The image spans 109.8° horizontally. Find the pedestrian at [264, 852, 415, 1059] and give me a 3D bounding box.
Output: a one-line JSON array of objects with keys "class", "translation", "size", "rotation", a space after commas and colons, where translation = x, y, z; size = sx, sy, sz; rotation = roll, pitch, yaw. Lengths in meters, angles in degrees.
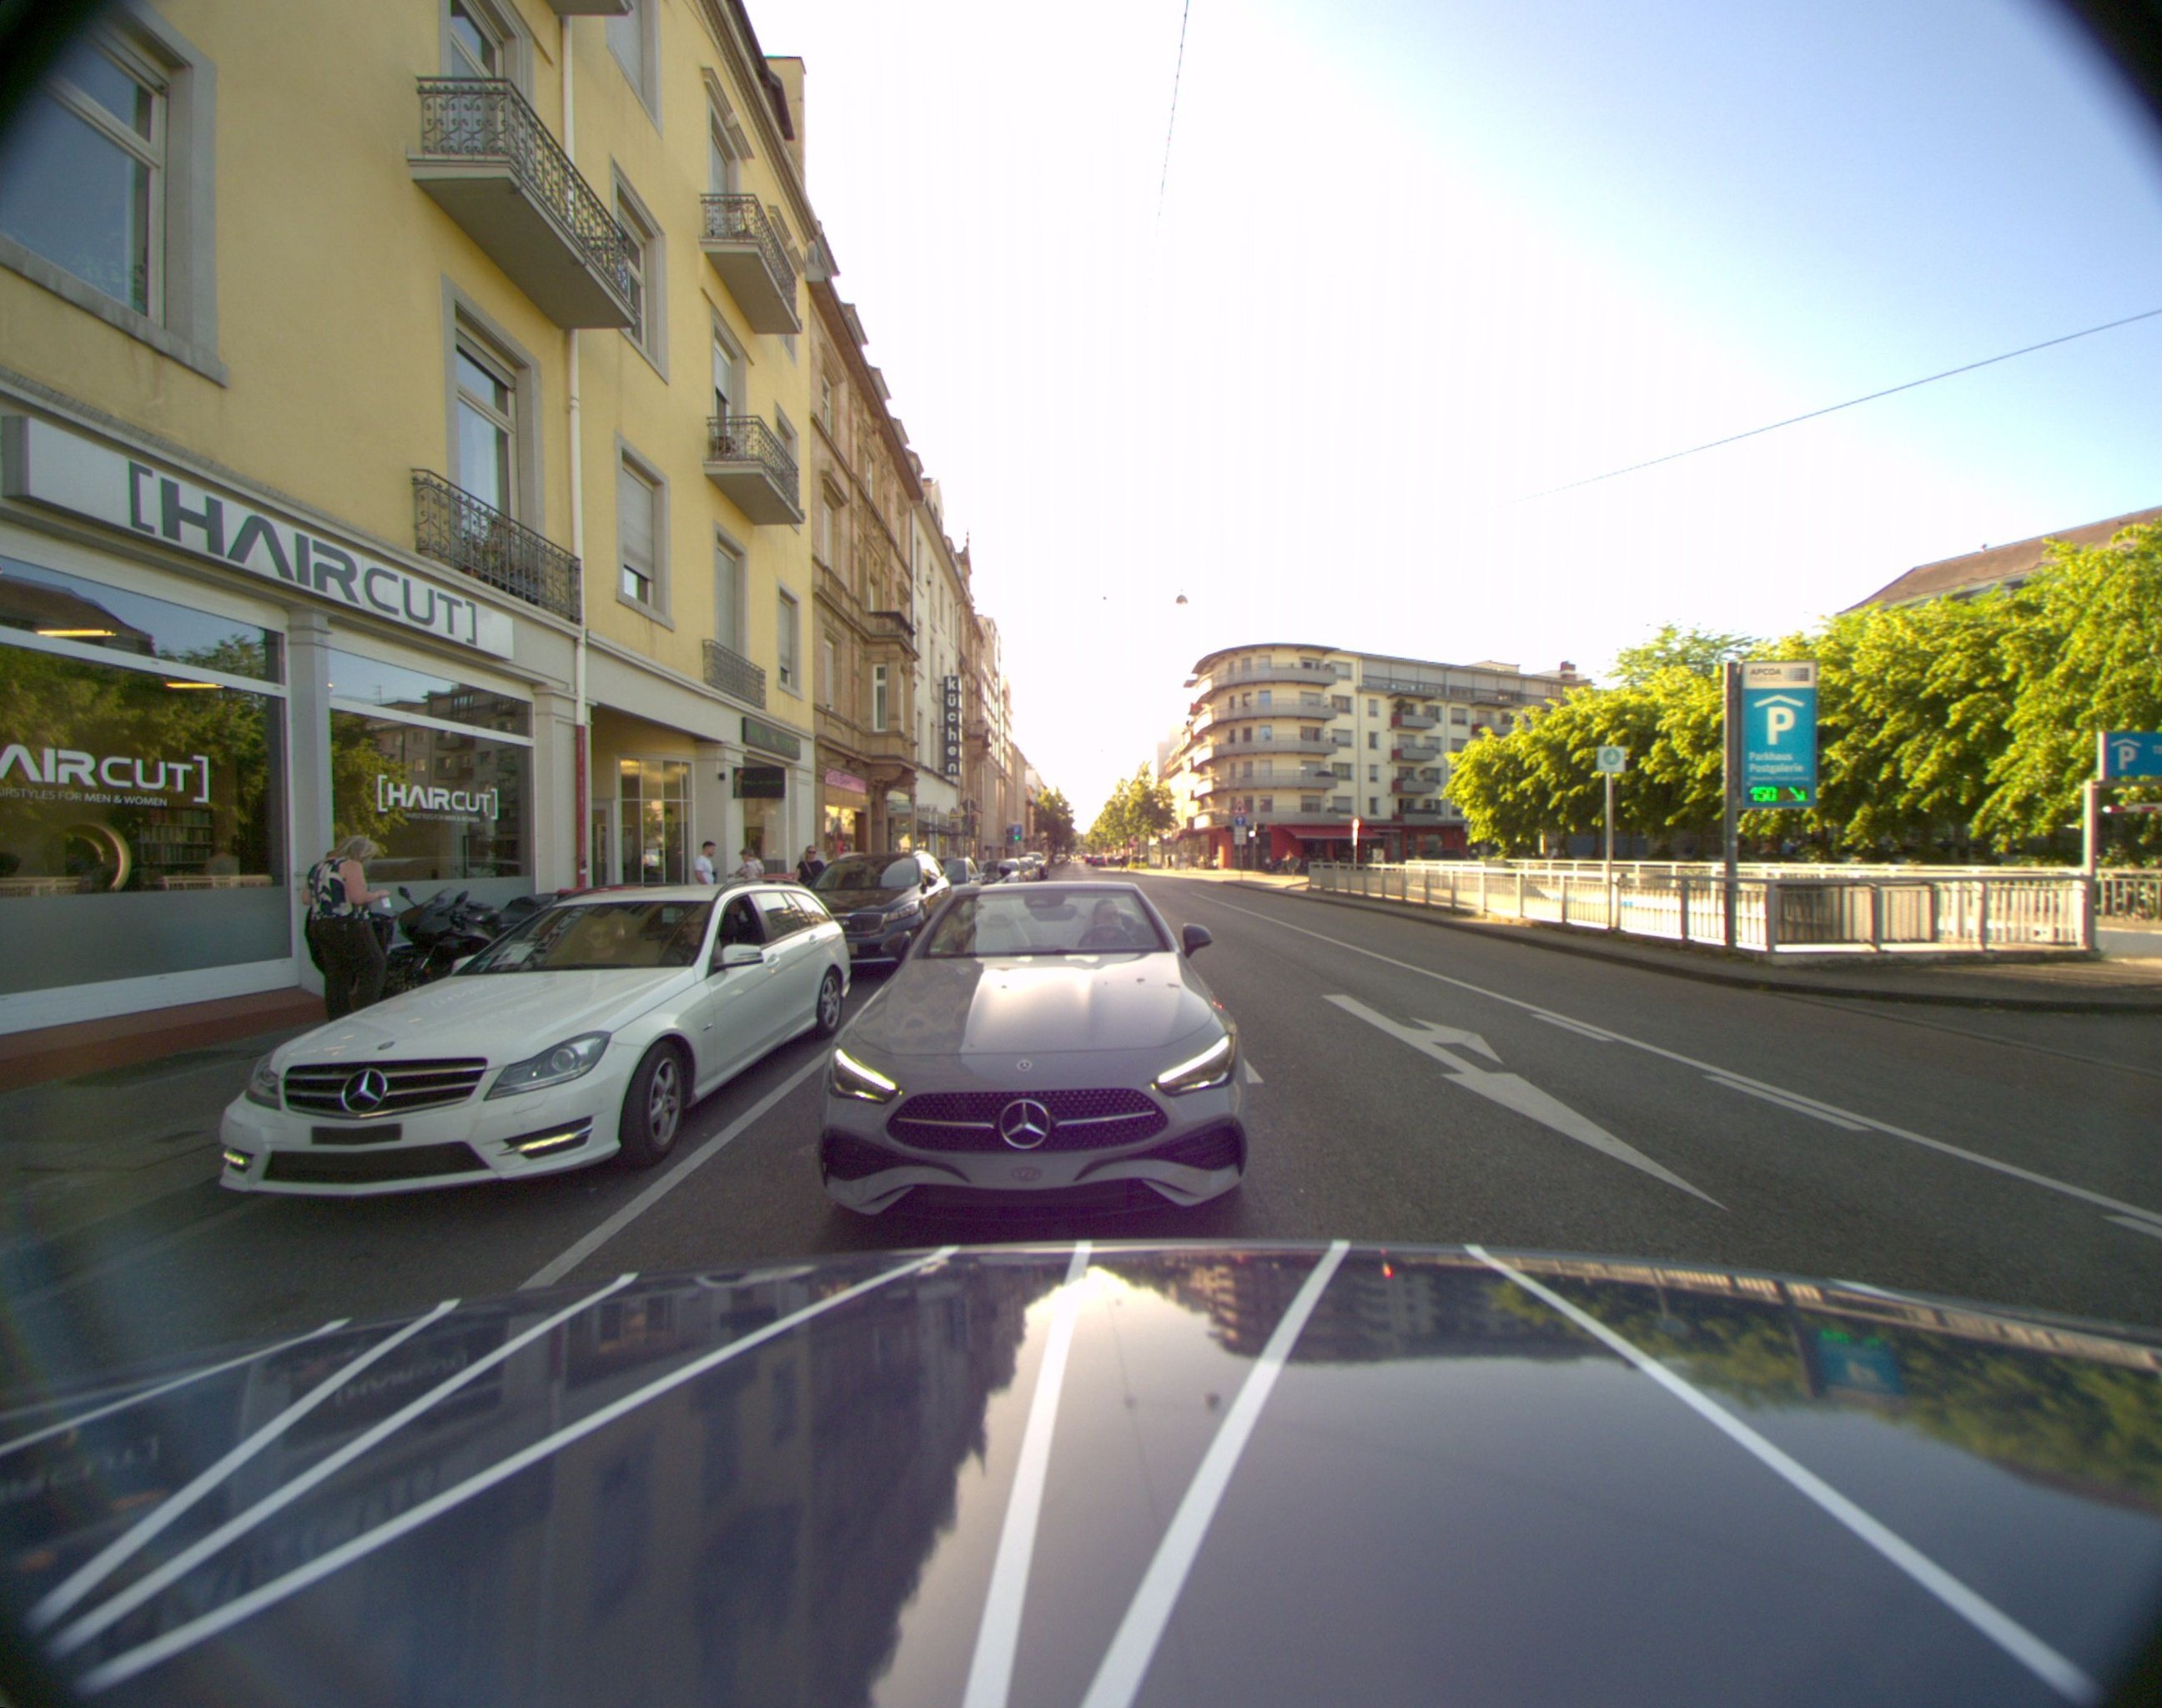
[{"class": "pedestrian", "translation": [-6.058, 0.798, 6.233], "size": [0.698, 1.623, 0.532], "rotation": [0, 1, -2]}]

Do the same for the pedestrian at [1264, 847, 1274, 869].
[{"class": "pedestrian", "translation": [14.779, 0.341, 59.791], "size": [0.575, 1.698, 0.642], "rotation": [-1, 1, 3]}]

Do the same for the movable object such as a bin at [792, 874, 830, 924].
[{"class": "movable object such as a bin", "translation": [-6.066, 1.008, 17.085], "size": [0.606, 1.060, 0.619], "rotation": [2, 1, 0]}]

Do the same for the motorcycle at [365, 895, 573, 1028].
[{"class": "motorcycle", "translation": [-6.212, 1.032, 7.889], "size": [0.551, 1.085, 2.009], "rotation": [0, 0, -1]}]

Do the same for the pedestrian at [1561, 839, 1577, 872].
[{"class": "pedestrian", "translation": [26.809, 0.064, 41.751], "size": [0.602, 1.782, 0.581], "rotation": [-3, 2, -40]}]

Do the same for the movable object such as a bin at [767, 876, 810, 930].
[{"class": "movable object such as a bin", "translation": [-6.089, 1.009, 15.837], "size": [0.606, 1.060, 0.619], "rotation": [2, 1, 0]}]

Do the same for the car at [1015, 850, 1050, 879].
[{"class": "car", "translation": [-3.006, 0.631, 47.719], "size": [1.895, 1.680, 4.049], "rotation": [-1, 0, 0]}]

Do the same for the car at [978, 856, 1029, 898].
[{"class": "car", "translation": [-3.045, 0.858, 30.619], "size": [1.737, 1.509, 4.164], "rotation": [-1, 0, -2]}]

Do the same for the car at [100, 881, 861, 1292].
[{"class": "car", "translation": [-3.062, 1.021, 5.302], "size": [1.743, 1.438, 4.463], "rotation": [-1, 0, 0]}]

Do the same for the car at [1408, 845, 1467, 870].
[{"class": "car", "translation": [29.259, 0.243, 62.376], "size": [4.432, 1.901, 1.951], "rotation": [-2, 1, -24]}]

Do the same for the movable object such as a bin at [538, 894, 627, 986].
[{"class": "movable object such as a bin", "translation": [-6.134, 1.045, 9.373], "size": [0.661, 1.035, 0.619], "rotation": [2, 1, 3]}]

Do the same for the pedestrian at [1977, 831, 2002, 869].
[{"class": "pedestrian", "translation": [44.028, -0.186, 36.830], "size": [0.602, 1.782, 0.581], "rotation": [-2, 1, -20]}]

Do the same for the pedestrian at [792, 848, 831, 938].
[{"class": "pedestrian", "translation": [-5.056, 0.716, 14.262], "size": [0.619, 1.623, 0.462], "rotation": [-2, 1, -23]}]

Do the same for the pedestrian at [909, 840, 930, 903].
[{"class": "pedestrian", "translation": [-4.598, 0.488, 21.635], "size": [0.434, 1.752, 0.481], "rotation": [-2, 1, 1]}]

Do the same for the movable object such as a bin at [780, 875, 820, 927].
[{"class": "movable object such as a bin", "translation": [-6.077, 1.002, 16.452], "size": [0.606, 1.060, 0.619], "rotation": [2, 1, 0]}]

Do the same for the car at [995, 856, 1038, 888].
[{"class": "car", "translation": [-3.077, 0.841, 36.828], "size": [1.737, 1.409, 3.802], "rotation": [-1, 0, 0]}]

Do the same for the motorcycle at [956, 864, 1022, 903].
[{"class": "motorcycle", "translation": [-3.196, 1.002, 26.548], "size": [2.178, 1.272, 0.866], "rotation": [-2, 1, -42]}]

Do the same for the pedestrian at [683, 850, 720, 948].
[{"class": "pedestrian", "translation": [-6.473, 0.753, 12.968], "size": [0.525, 1.651, 0.337], "rotation": [0, 1, -34]}]

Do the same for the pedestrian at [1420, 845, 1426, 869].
[{"class": "pedestrian", "translation": [24.083, 0.225, 53.538], "size": [0.322, 1.658, 0.362], "rotation": [-1, 1, 32]}]

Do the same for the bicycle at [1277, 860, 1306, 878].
[{"class": "bicycle", "translation": [14.808, 1.035, 53.455], "size": [1.868, 1.205, 0.715], "rotation": [-1, 1, 40]}]

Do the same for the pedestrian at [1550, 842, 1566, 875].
[{"class": "pedestrian", "translation": [25.599, 0.240, 40.791], "size": [0.602, 1.782, 0.581], "rotation": [-3, 2, -45]}]

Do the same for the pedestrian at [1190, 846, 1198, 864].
[{"class": "pedestrian", "translation": [10.465, 0.076, 70.302], "size": [0.570, 1.612, 0.793], "rotation": [-2, 1, -3]}]

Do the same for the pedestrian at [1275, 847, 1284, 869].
[{"class": "pedestrian", "translation": [15.521, 0.311, 59.370], "size": [0.575, 1.698, 0.642], "rotation": [-1, 1, 3]}]

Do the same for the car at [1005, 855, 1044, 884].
[{"class": "car", "translation": [-3.000, 0.807, 41.090], "size": [1.737, 1.409, 3.802], "rotation": [-1, 0, 0]}]

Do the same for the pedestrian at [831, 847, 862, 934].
[{"class": "pedestrian", "translation": [-4.489, 0.685, 14.540], "size": [0.415, 1.623, 0.514], "rotation": [-2, 1, -29]}]

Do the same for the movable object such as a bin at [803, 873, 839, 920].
[{"class": "movable object such as a bin", "translation": [-6.066, 0.982, 17.742], "size": [0.606, 1.060, 0.619], "rotation": [2, 1, 0]}]

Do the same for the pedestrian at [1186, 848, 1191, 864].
[{"class": "pedestrian", "translation": [9.940, 0.200, 70.419], "size": [0.376, 1.521, 0.516], "rotation": [-2, 1, -3]}]

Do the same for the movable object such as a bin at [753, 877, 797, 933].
[{"class": "movable object such as a bin", "translation": [-6.112, 1.017, 15.190], "size": [0.606, 1.060, 0.619], "rotation": [2, 1, 0]}]

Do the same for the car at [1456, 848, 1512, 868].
[{"class": "car", "translation": [34.275, 0.320, 64.674], "size": [4.300, 1.611, 1.951], "rotation": [-2, 1, -24]}]

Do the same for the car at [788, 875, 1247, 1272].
[{"class": "car", "translation": [-0.249, 0.965, 5.300], "size": [1.848, 1.440, 4.373], "rotation": [-1, 0, 0]}]

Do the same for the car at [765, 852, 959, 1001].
[{"class": "car", "translation": [-2.981, 0.859, 11.365], "size": [1.760, 1.726, 4.571], "rotation": [-1, 0, -3]}]

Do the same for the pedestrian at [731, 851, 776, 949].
[{"class": "pedestrian", "translation": [-5.682, 0.776, 13.182], "size": [0.594, 1.651, 0.450], "rotation": [-1, 1, -45]}]

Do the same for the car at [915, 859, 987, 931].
[{"class": "car", "translation": [-2.998, 0.896, 17.908], "size": [1.275, 1.509, 2.794], "rotation": [-1, 0, -2]}]

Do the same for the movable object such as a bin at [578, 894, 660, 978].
[{"class": "movable object such as a bin", "translation": [-6.091, 1.068, 10.045], "size": [0.669, 1.019, 0.619], "rotation": [2, 1, 3]}]

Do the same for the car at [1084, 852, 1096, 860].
[{"class": "car", "translation": [1.570, 0.322, 134.315], "size": [1.895, 1.388, 4.255], "rotation": [-1, 0, -1]}]

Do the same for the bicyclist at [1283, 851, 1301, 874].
[{"class": "bicyclist", "translation": [14.807, 0.606, 53.431], "size": [0.973, 1.605, 0.715], "rotation": [-1, 1, 40]}]

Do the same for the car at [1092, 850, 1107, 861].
[{"class": "car", "translation": [2.499, 0.234, 101.131], "size": [1.806, 1.388, 3.926], "rotation": [-1, 0, -1]}]
